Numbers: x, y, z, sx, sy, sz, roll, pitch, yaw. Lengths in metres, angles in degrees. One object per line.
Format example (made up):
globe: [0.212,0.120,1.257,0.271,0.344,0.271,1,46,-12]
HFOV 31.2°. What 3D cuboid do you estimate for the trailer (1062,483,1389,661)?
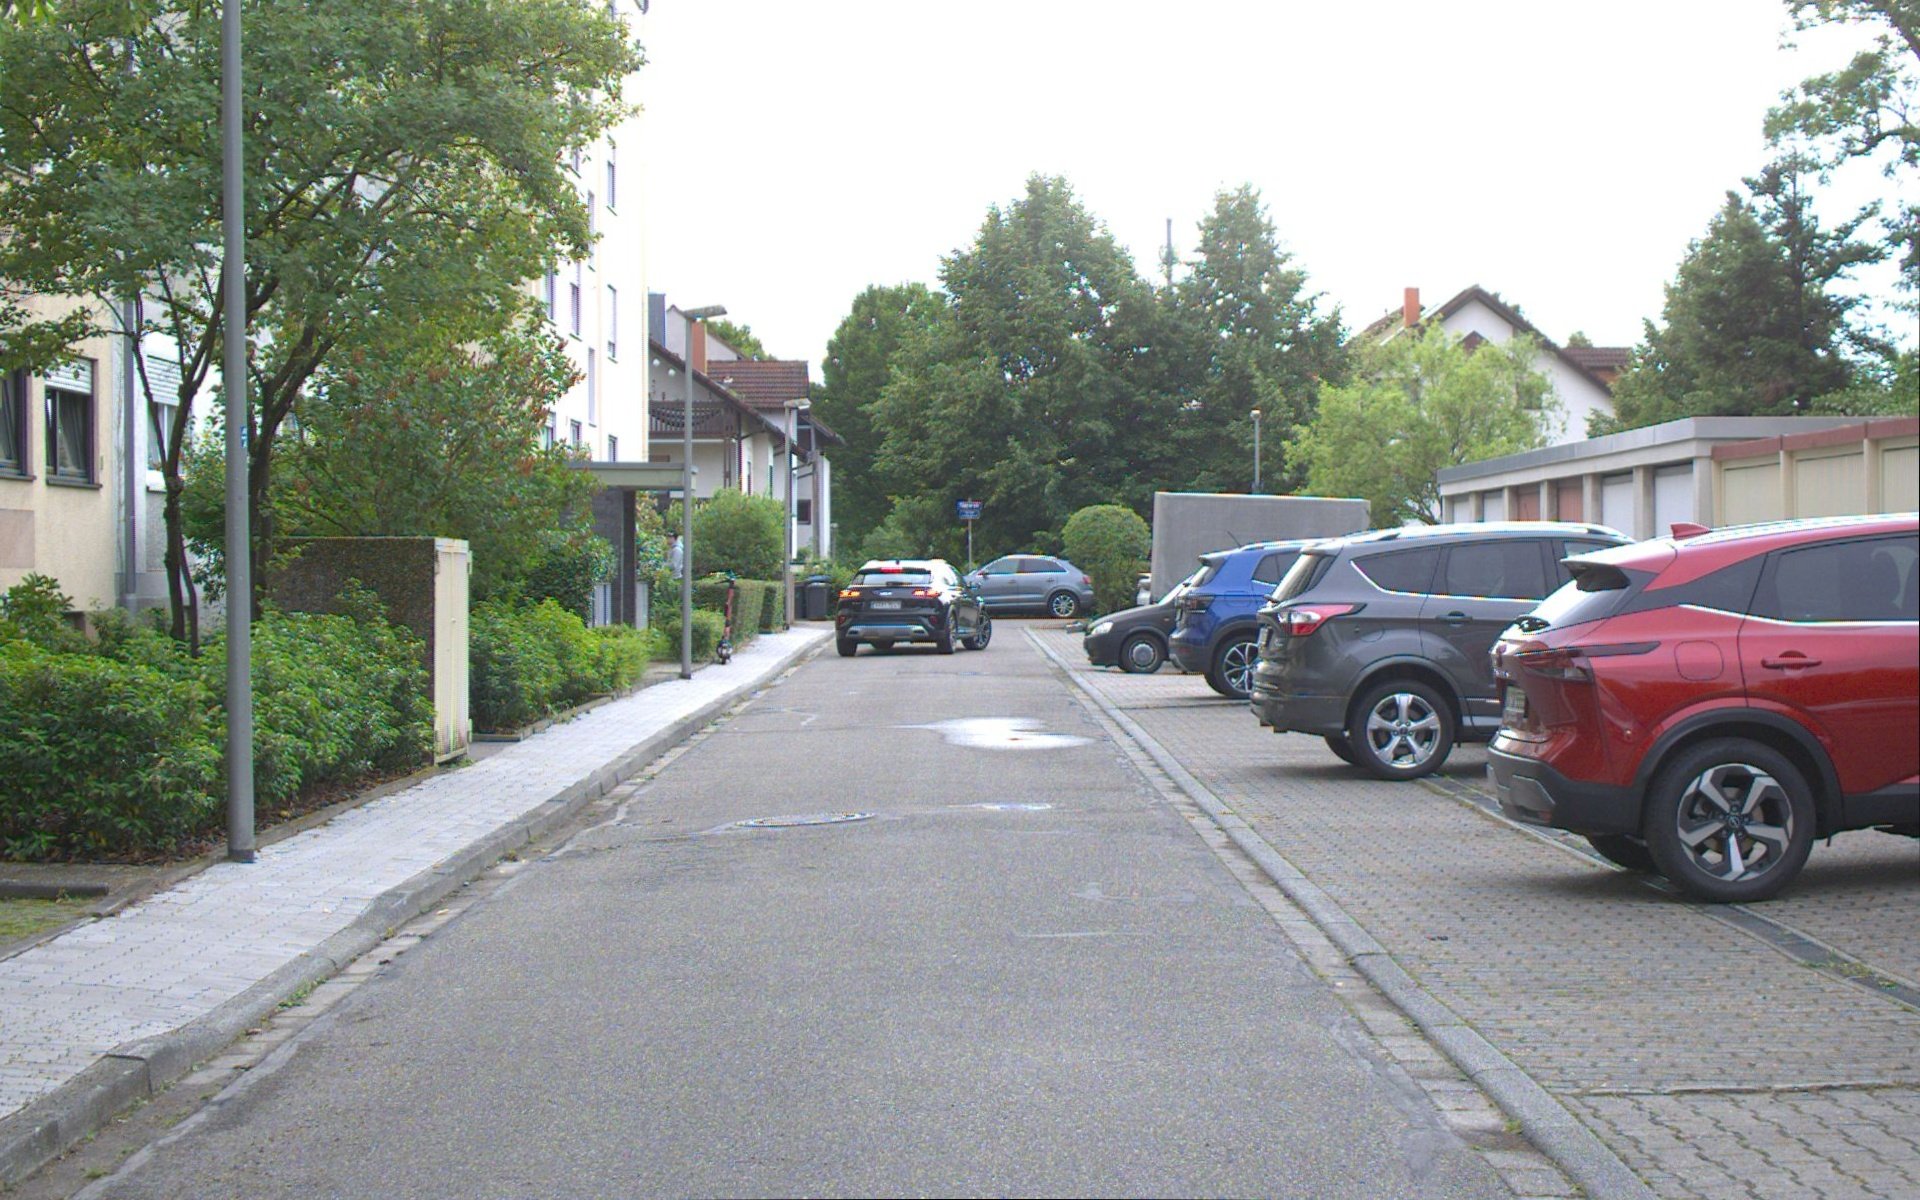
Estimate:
trailer: [3.825,-0.412,50.079,4.609,2.516,1.943,0,1,0]

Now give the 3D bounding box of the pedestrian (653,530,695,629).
pedestrian: [-5.080,-0.369,61.089,0.679,1.743,0.756,1,0,-3]

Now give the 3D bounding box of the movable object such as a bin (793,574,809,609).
movable object such as a bin: [-4.032,-0.220,87.333,0.386,0.886,0.379,1,0,-2]

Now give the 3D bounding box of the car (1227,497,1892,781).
car: [4.074,0.243,23.892,4.195,1.721,2.000,-2,1,-1]

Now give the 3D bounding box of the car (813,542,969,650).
car: [-1.044,-0.094,54.319,1.994,1.546,3.999,-2,1,5]

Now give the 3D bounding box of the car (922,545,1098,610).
car: [1.194,-0.530,83.726,4.237,1.526,1.747,0,-1,0]

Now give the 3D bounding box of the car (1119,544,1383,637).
car: [5.098,-0.177,60.744,4.537,1.583,1.988,0,1,2]

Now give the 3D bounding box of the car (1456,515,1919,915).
car: [4.522,0.406,15.226,4.288,1.580,1.935,-2,1,-1]

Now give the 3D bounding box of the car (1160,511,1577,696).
car: [4.158,0.018,35.498,3.987,1.697,2.000,-2,1,-1]

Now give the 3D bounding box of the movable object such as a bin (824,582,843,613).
movable object such as a bin: [-3.223,-0.062,87.512,0.459,0.795,0.379,1,0,-2]

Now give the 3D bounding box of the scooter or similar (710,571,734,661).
scooter or similar: [-3.285,0.211,47.507,0.272,1.206,1.164,0,1,-1]

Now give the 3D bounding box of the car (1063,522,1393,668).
car: [3.654,-0.087,47.430,4.310,1.795,2.000,-2,1,-1]
